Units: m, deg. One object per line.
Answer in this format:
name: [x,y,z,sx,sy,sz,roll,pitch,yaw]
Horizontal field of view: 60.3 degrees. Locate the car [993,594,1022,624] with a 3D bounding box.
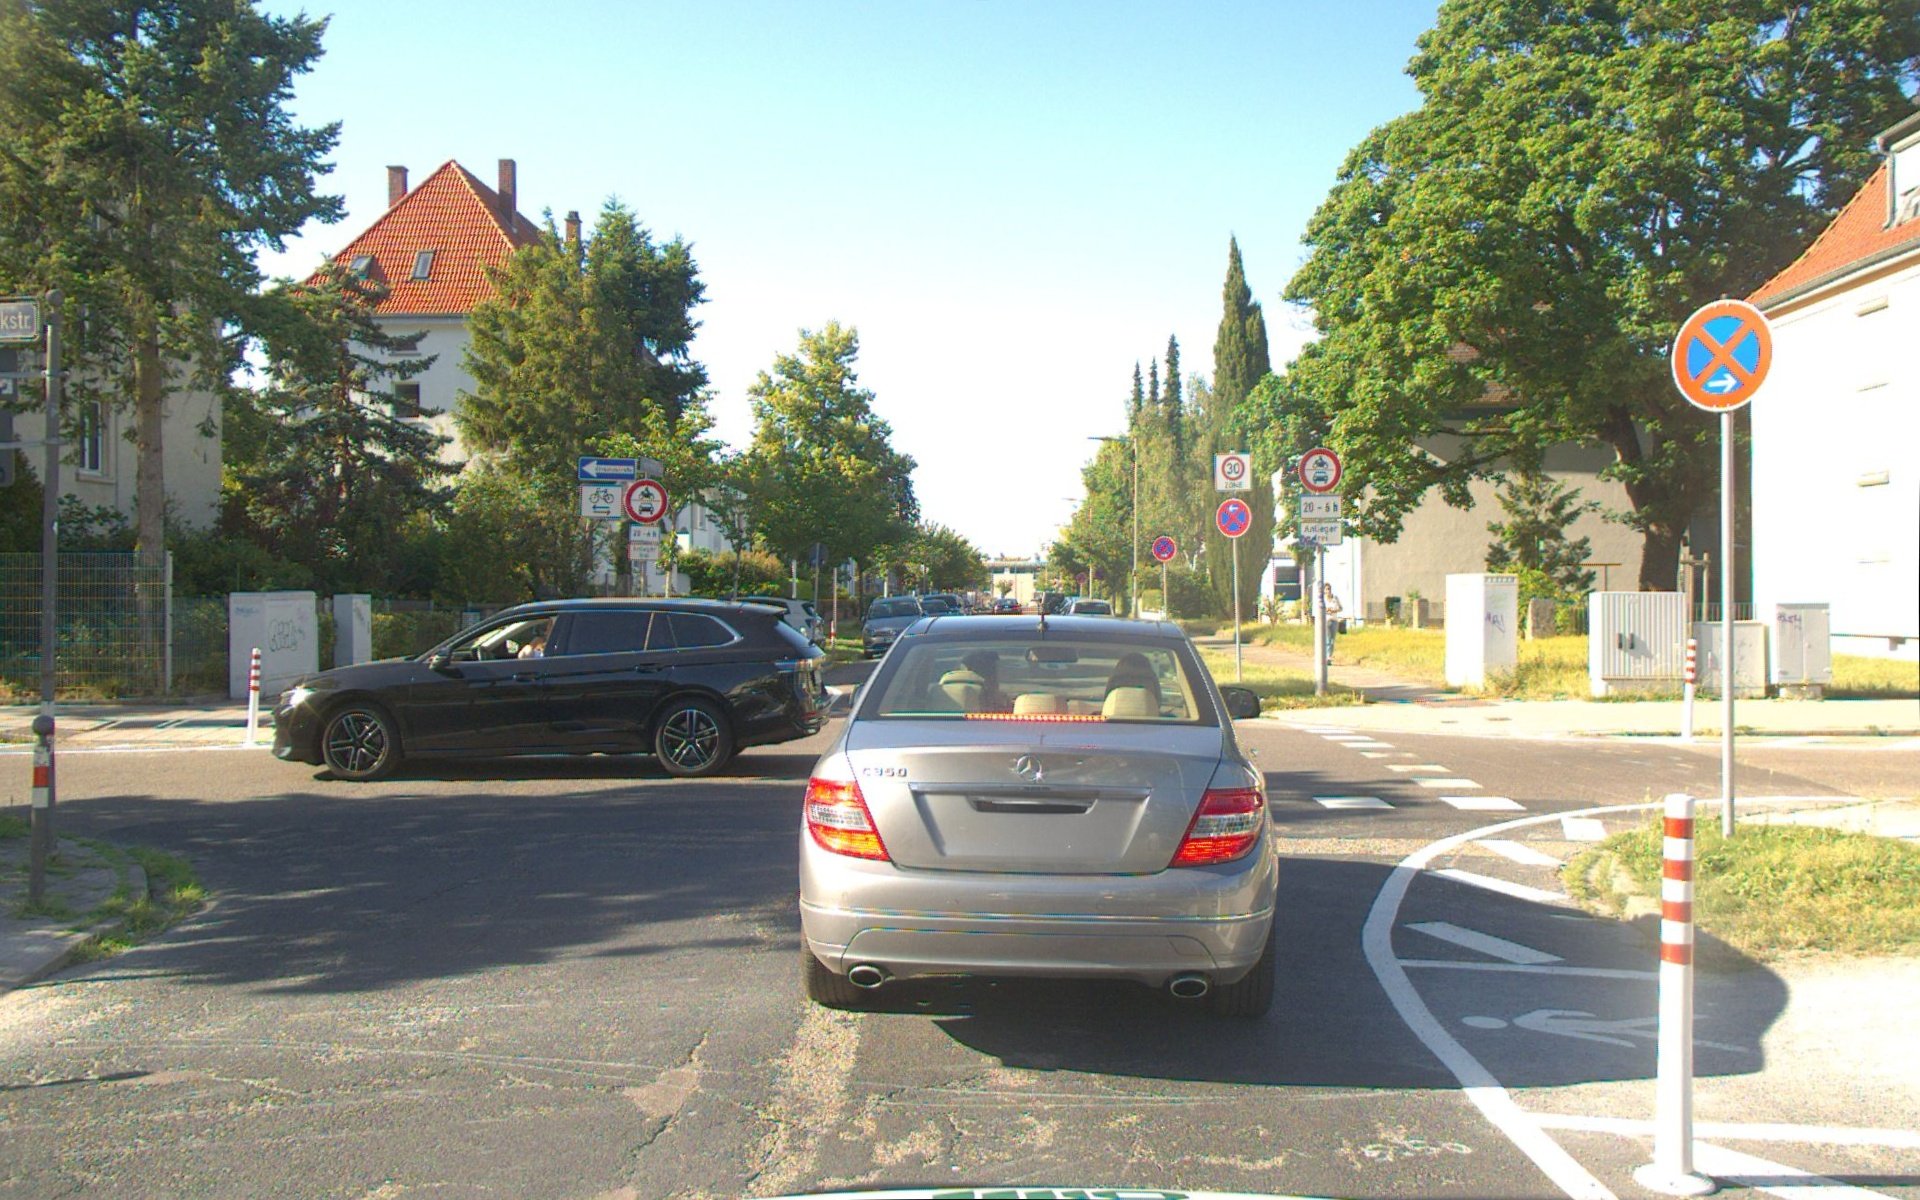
car: [2.688,0.491,94.558,1.564,1.638,3.644,-1,0,0]

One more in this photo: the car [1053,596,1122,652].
car: [3.632,0.669,47.564,1.698,1.505,3.725,-1,0,0]

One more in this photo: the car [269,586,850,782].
car: [-3.370,0.688,14.669,4.643,1.551,2.000,-1,0,-1]

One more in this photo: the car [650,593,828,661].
car: [-5.339,0.647,40.394,4.107,1.591,1.842,0,0,-1]

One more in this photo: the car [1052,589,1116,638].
car: [4.345,0.449,58.399,1.953,1.638,4.000,-1,0,0]

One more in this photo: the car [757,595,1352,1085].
car: [0.385,0.718,7.019,1.798,1.466,4.002,0,0,3]

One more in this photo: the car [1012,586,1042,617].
car: [4.165,0.061,103.191,1.816,1.873,4.001,-1,0,1]

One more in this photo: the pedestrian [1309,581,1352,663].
pedestrian: [7.554,0.437,33.771,0.750,1.639,0.835,-1,0,7]

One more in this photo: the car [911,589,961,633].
car: [-0.971,0.439,69.049,1.953,1.637,4.000,-4,0,0]

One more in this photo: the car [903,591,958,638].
car: [-1.100,0.527,63.256,1.953,1.637,4.000,-4,0,0]

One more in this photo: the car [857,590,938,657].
car: [-1.668,0.608,45.450,1.953,1.637,4.000,-4,0,0]
